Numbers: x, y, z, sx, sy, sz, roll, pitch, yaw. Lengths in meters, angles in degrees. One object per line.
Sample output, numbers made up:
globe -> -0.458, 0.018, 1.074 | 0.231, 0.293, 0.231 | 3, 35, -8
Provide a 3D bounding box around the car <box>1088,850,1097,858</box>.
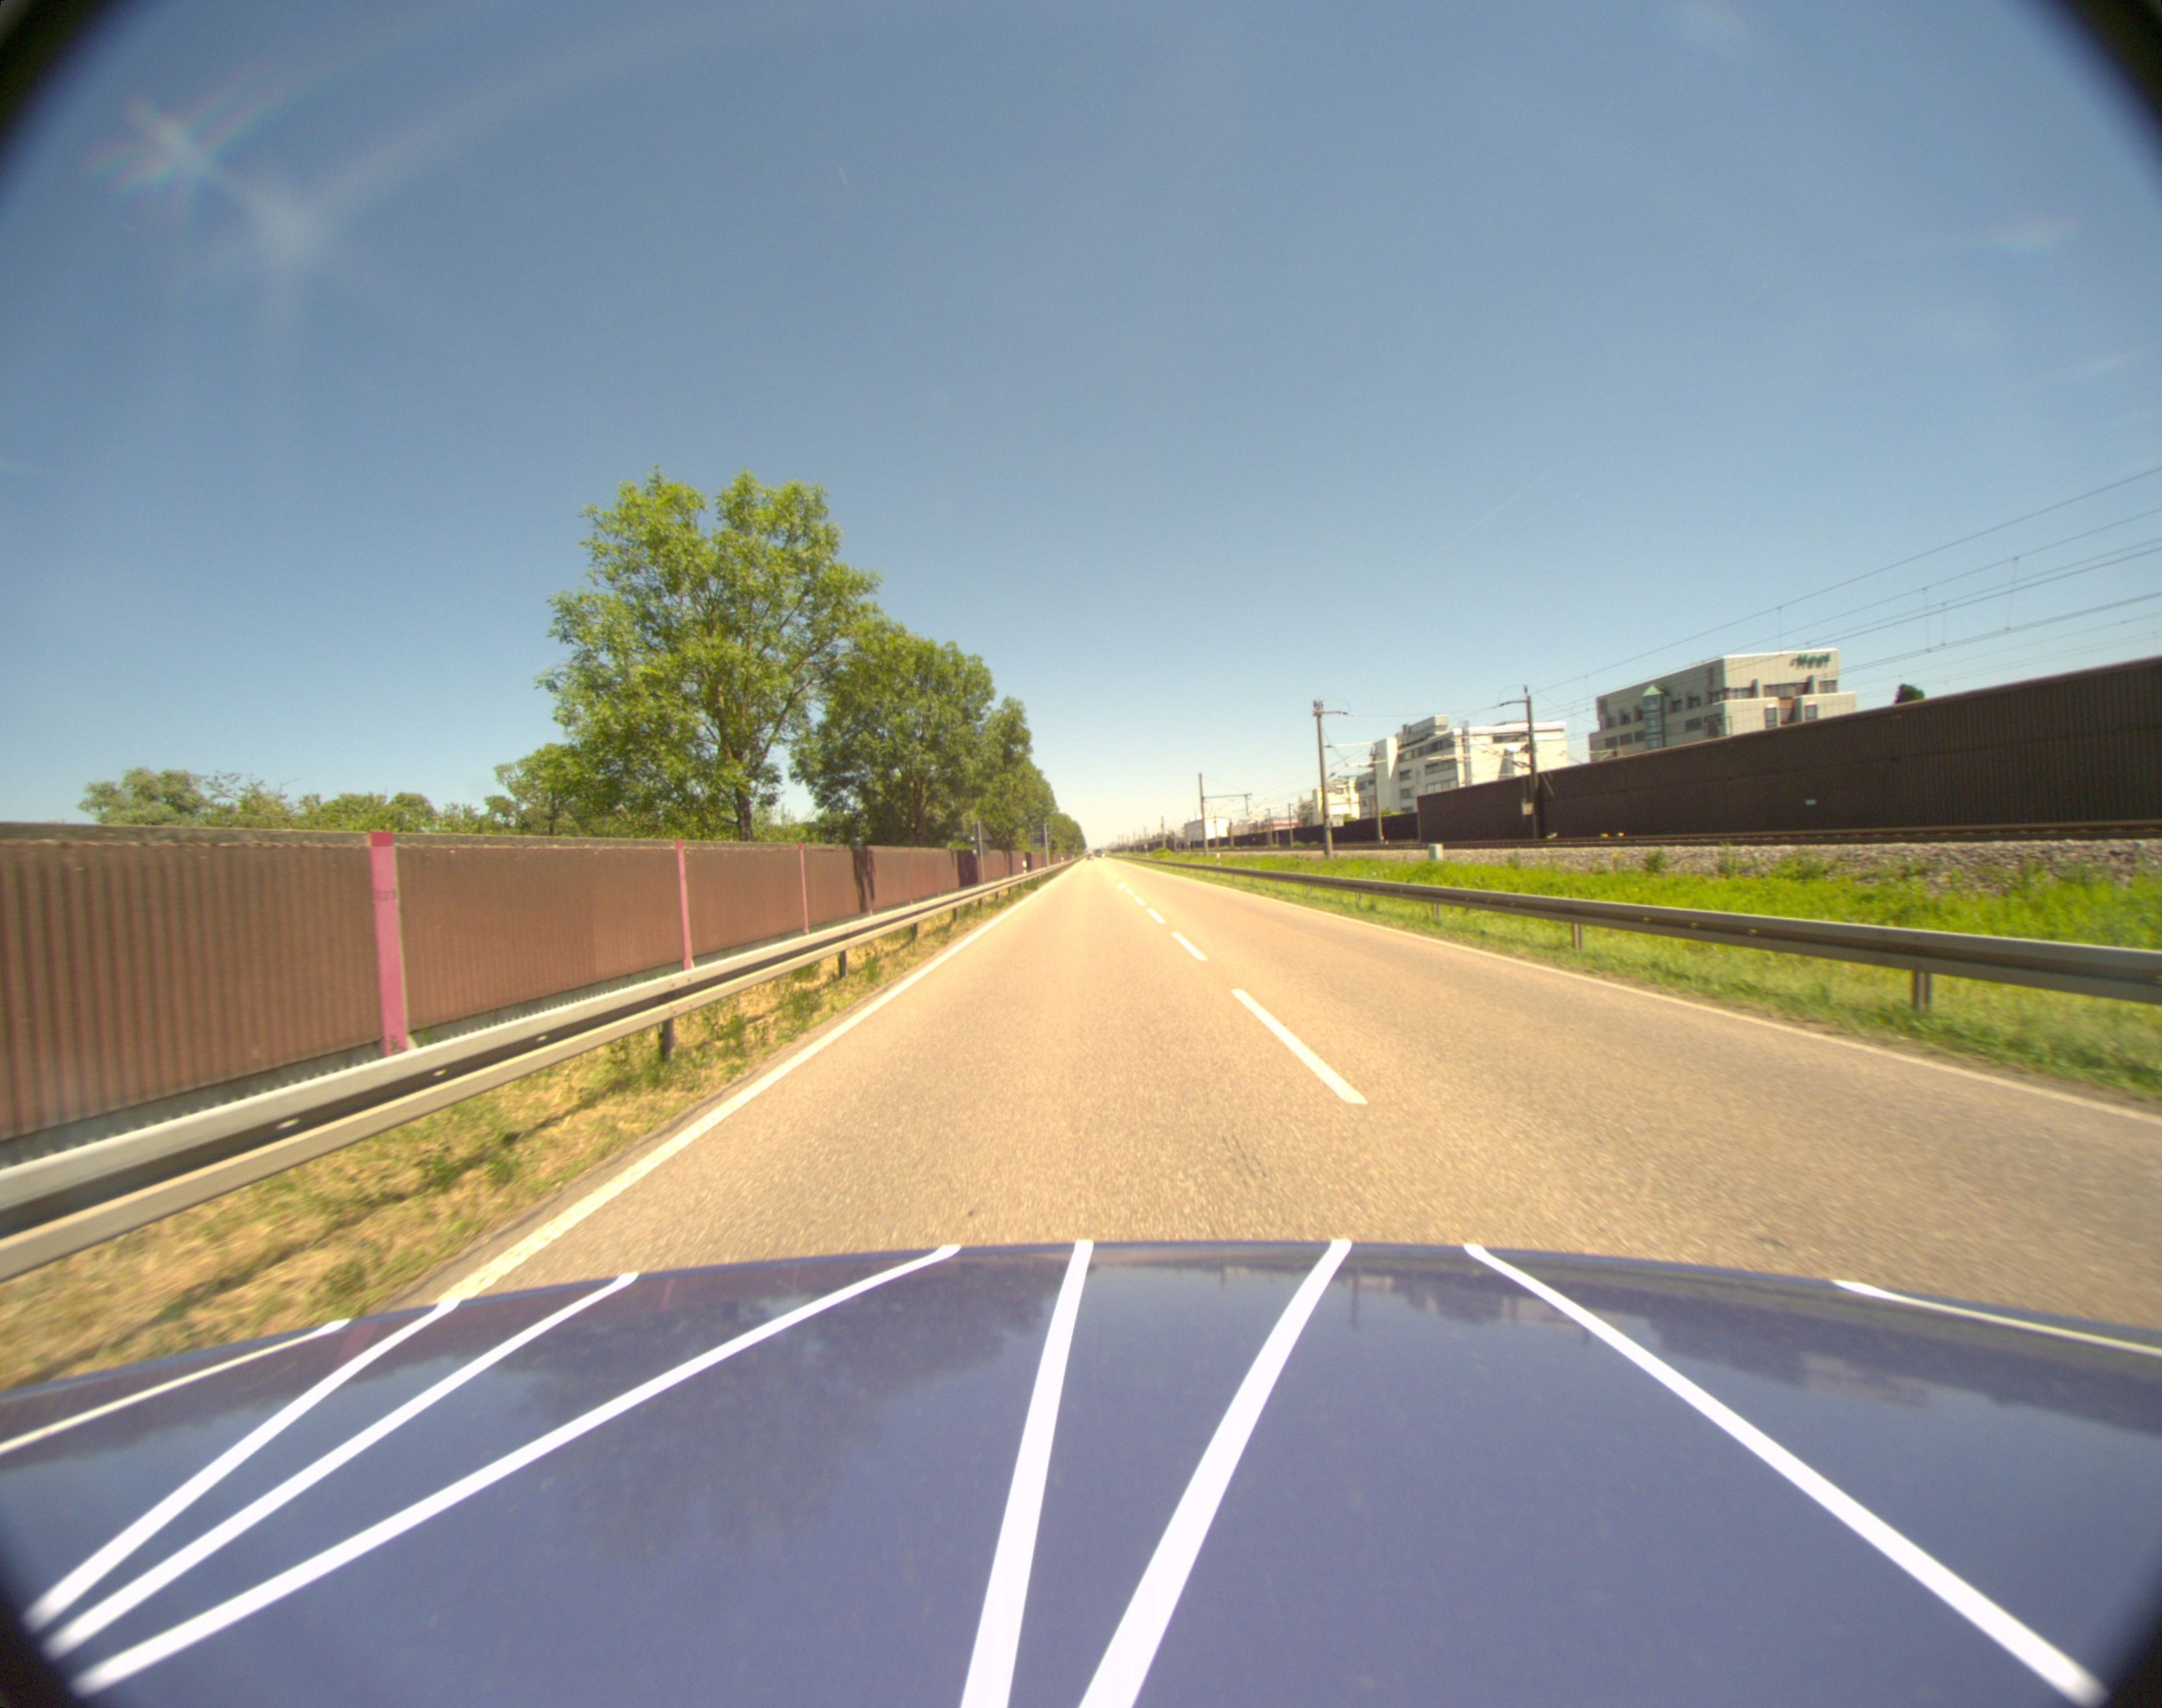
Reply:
car -> 2.982, 0.045, 194.129 | 1.998, 2.002, 4.001 | -3, 0, 4
